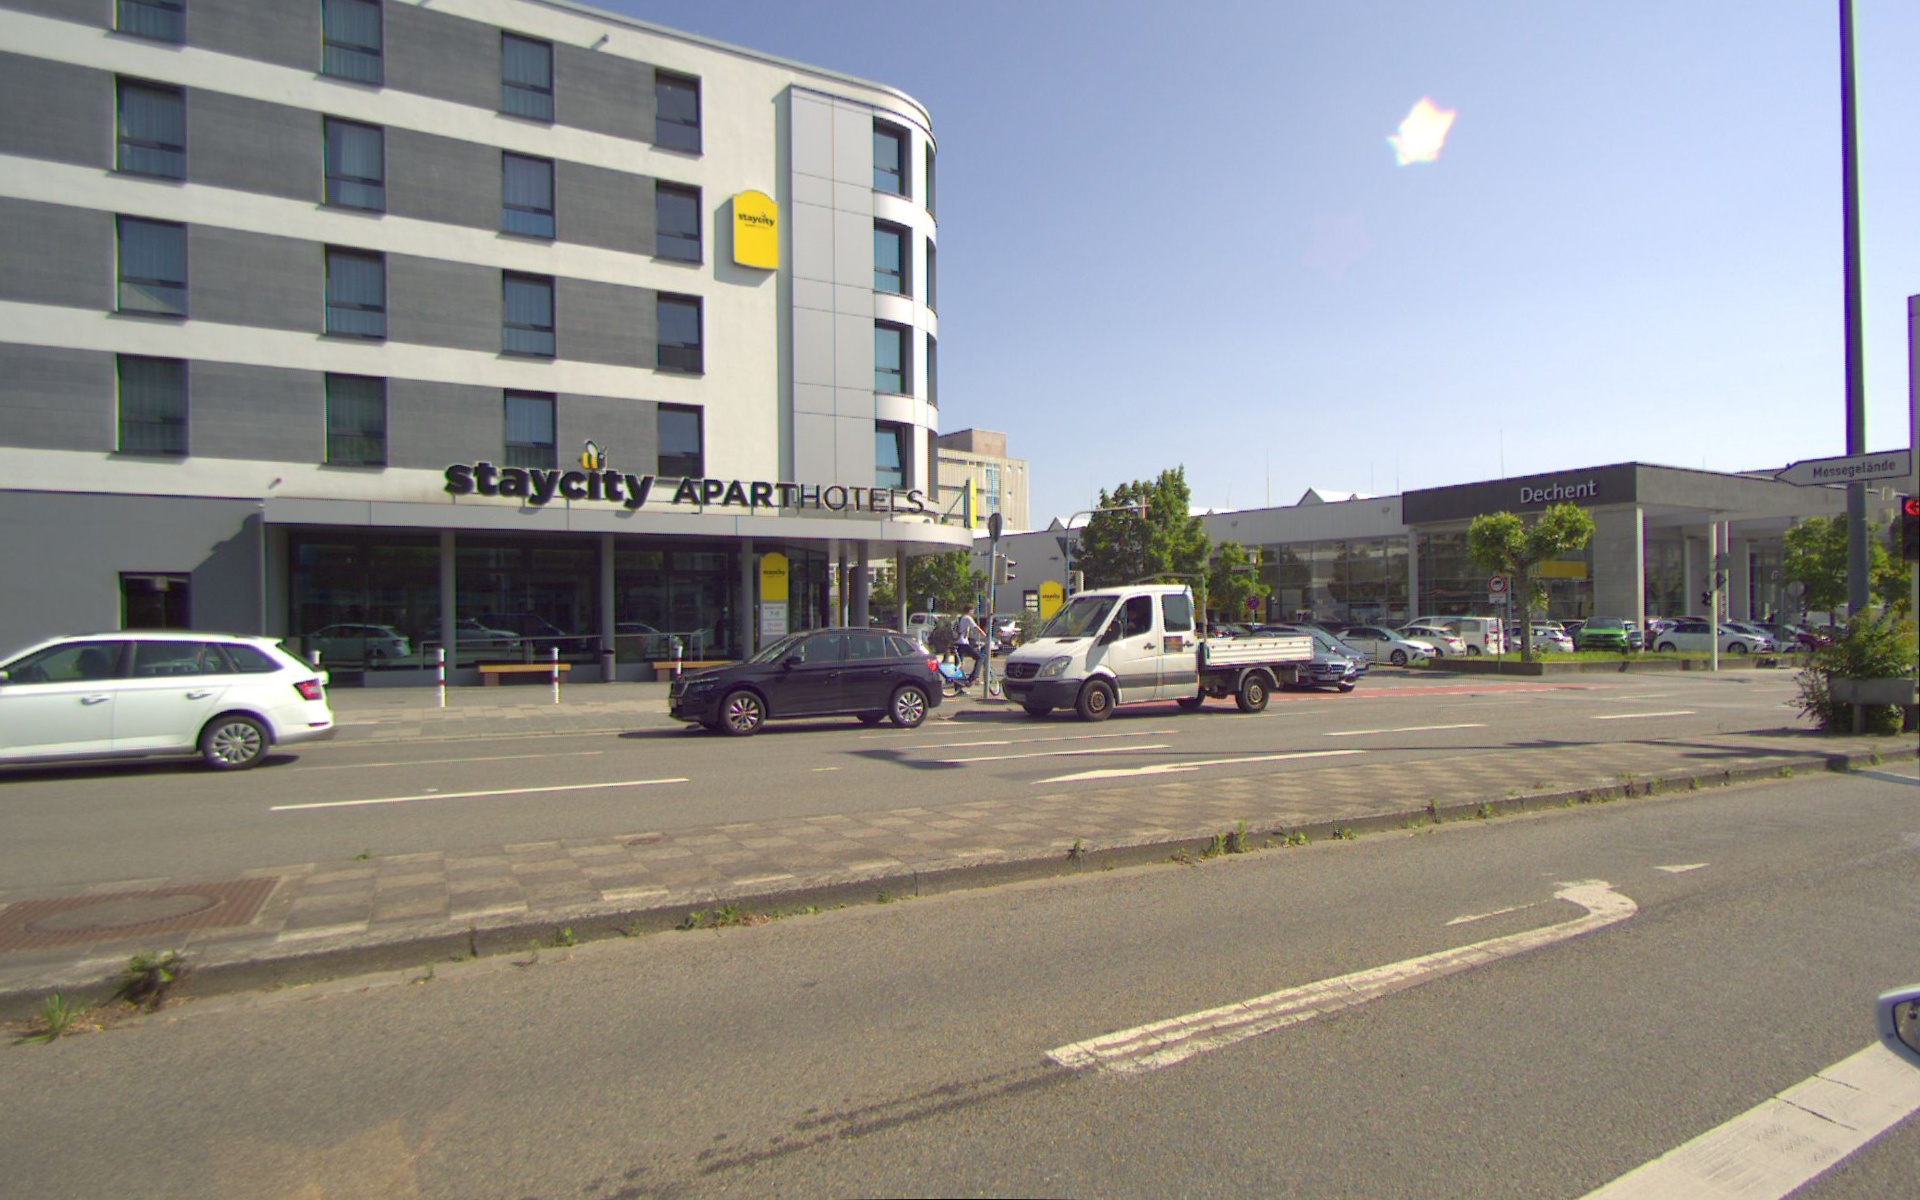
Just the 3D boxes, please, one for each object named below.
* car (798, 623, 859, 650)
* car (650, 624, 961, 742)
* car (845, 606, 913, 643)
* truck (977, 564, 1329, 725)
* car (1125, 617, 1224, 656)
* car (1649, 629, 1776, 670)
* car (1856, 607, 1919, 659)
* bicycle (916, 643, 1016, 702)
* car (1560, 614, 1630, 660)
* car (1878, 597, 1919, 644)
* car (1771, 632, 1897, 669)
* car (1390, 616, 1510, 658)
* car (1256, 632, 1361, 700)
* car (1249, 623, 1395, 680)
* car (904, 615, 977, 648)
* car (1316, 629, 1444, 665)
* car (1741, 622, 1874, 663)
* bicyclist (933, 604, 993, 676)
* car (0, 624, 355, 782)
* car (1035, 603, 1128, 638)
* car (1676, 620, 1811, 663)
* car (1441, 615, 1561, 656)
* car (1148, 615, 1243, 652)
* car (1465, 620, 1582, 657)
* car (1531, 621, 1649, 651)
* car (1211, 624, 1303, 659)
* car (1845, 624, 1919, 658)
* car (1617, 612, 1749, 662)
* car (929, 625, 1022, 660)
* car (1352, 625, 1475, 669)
[{"bbox_3d":[-7.418,2.038,56.579,1.761,1.457,3.875,1,-1,-37],"label":"car"},{"bbox_3d":[-2.346,1.192,15.515,4.360,1.598,1.985,1,-2,-30],"label":"car"},{"bbox_3d":[-5.198,1.528,64.203,1.985,2.158,4.566,2,0,-42],"label":"car"},{"bbox_3d":[3.654,0.776,18.617,6.355,2.579,2.348,1,-1,-28],"label":"truck"},{"bbox_3d":[9.940,1.659,46.790,1.980,1.719,4.329,1,-1,-35],"label":"car"},{"bbox_3d":[32.105,2.070,42.925,1.981,1.620,3.959,1,-1,-36],"label":"car"},{"bbox_3d":[50.666,1.734,53.092,2.096,2.720,4.490,1,-1,-21],"label":"car"},{"bbox_3d":[0.141,1.494,21.117,2.144,1.131,0.761,1,-2,-41],"label":"bicycle"},{"bbox_3d":[25.537,1.494,40.490,1.870,1.756,3.293,0,-3,23],"label":"car"},{"bbox_3d":[54.824,1.133,56.441,1.972,2.635,4.345,1,-1,-24],"label":"car"},{"bbox_3d":[43.196,2.464,49.756,1.978,1.719,4.333,1,-1,-32],"label":"car"},{"bbox_3d":[21.423,1.588,44.052,1.982,1.719,4.324,1,-2,-38],"label":"car"},{"bbox_3d":[8.918,1.639,26.021,1.866,1.378,4.002,2,1,10],"label":"car"},{"bbox_3d":[11.278,1.571,31.581,1.869,1.639,4.101,1,-1,-30],"label":"car"},{"bbox_3d":[-1.199,1.869,60.189,1.970,1.815,4.377,2,0,-41],"label":"car"},{"bbox_3d":[16.619,1.815,39.919,1.980,1.317,4.329,1,-2,-35],"label":"car"},{"bbox_3d":[38.999,1.919,46.328,1.978,1.719,4.334,1,-1,-31],"label":"car"},{"bbox_3d":[0.060,0.830,21.053,1.019,1.479,0.761,1,-1,-41],"label":"bicyclist"},{"bbox_3d":[-9.142,1.057,10.798,4.370,1.505,1.981,2,-4,-36],"label":"car"},{"bbox_3d":[6.141,1.053,51.082,4.305,1.719,1.991,-1,-2,40],"label":"car"},{"bbox_3d":[34.388,1.762,44.181,1.978,1.789,4.274,1,-1,-32],"label":"car"},{"bbox_3d":[24.103,1.557,44.889,1.982,1.719,4.324,1,-2,-38],"label":"car"},{"bbox_3d":[11.462,1.631,49.116,1.980,1.719,4.329,1,-1,-35],"label":"car"},{"bbox_3d":[26.113,1.742,46.650,1.982,1.612,4.325,1,-2,-37],"label":"car"},{"bbox_3d":[29.428,1.698,47.028,1.982,1.284,4.325,3,-4,-37],"label":"car"},{"bbox_3d":[15.373,2.141,52.239,1.980,1.719,4.329,1,-1,-35],"label":"car"},{"bbox_3d":[48.661,2.093,51.642,1.970,1.719,4.351,1,-1,-20],"label":"car"},{"bbox_3d":[28.894,1.453,40.256,1.978,1.862,3.849,1,-1,-32],"label":"car"},{"bbox_3d":[0.667,1.911,45.800,3.943,1.349,1.989,2,0,43],"label":"car"},{"bbox_3d":[18.970,1.907,42.174,1.980,1.719,4.329,1,-1,-35],"label":"car"}]
